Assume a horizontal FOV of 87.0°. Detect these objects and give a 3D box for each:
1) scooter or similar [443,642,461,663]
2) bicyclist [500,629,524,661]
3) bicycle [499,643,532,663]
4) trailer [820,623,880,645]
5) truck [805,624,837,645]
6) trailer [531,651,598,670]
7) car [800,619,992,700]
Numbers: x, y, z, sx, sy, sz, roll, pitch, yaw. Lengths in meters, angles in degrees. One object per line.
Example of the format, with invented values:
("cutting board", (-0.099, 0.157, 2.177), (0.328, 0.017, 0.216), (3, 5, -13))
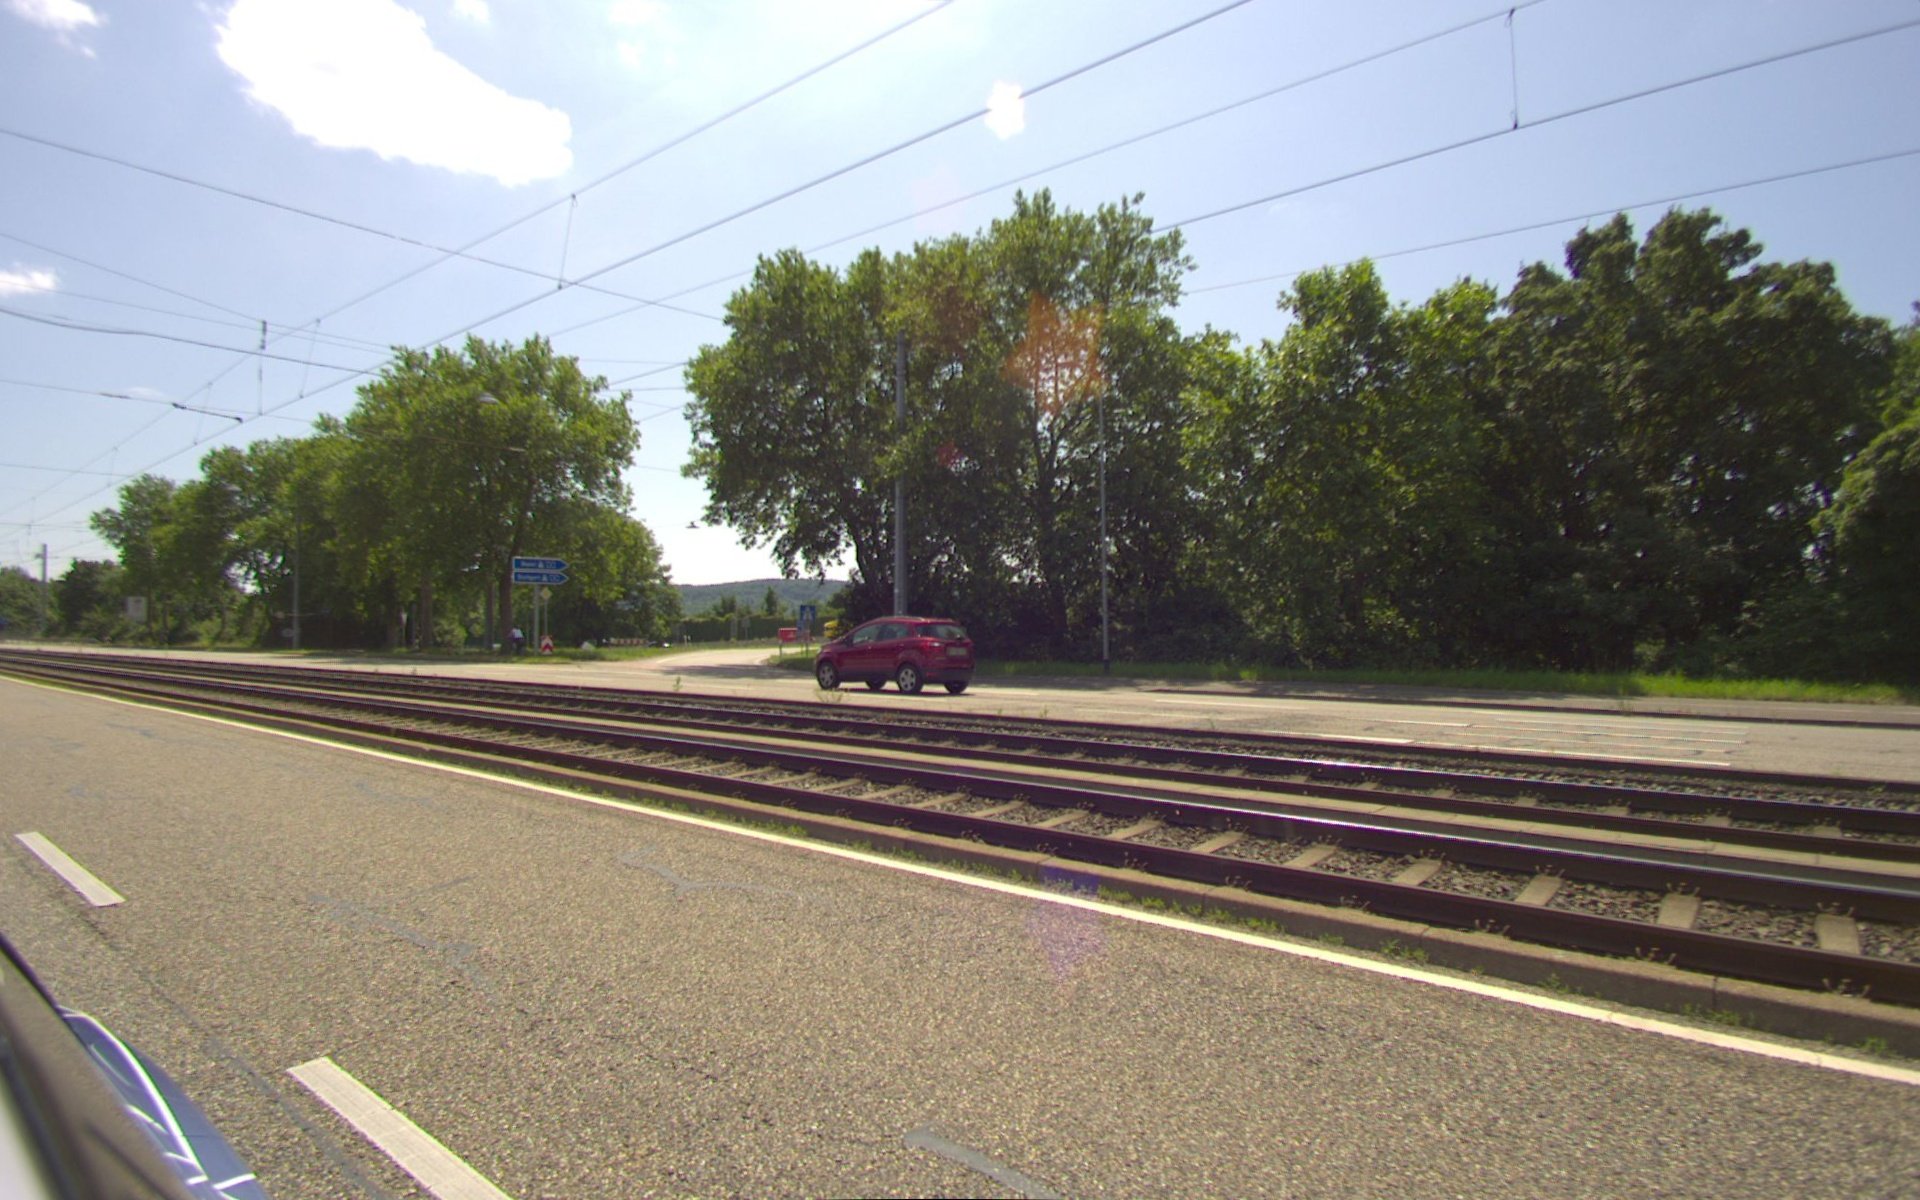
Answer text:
("scooter or similar", (-28.622, 2.929, 56.994), (1.233, 1.159, 0.456), (-2, -1, 39))
("bicyclist", (-21.709, 2.168, 49.021), (1.159, 1.529, 0.615), (-2, -2, 40))
("bicycle", (-21.584, 2.574, 49.098), (2.089, 0.946, 0.615), (-2, -2, 40))
("trailer", (-23.040, 7.024, 212.062), (12.000, 4.188, 3.146), (-1, -1, -22))
("truck", (-28.749, 7.115, 209.736), (5.908, 4.188, 3.146), (-1, -1, -22))
("trailer", (-77.171, 11.795, 197.848), (12.166, 3.466, 3.348), (0, -2, -19))
("car", (-1.491, 1.288, 22.575), (4.208, 1.638, 1.783), (-2, -3, 40))
